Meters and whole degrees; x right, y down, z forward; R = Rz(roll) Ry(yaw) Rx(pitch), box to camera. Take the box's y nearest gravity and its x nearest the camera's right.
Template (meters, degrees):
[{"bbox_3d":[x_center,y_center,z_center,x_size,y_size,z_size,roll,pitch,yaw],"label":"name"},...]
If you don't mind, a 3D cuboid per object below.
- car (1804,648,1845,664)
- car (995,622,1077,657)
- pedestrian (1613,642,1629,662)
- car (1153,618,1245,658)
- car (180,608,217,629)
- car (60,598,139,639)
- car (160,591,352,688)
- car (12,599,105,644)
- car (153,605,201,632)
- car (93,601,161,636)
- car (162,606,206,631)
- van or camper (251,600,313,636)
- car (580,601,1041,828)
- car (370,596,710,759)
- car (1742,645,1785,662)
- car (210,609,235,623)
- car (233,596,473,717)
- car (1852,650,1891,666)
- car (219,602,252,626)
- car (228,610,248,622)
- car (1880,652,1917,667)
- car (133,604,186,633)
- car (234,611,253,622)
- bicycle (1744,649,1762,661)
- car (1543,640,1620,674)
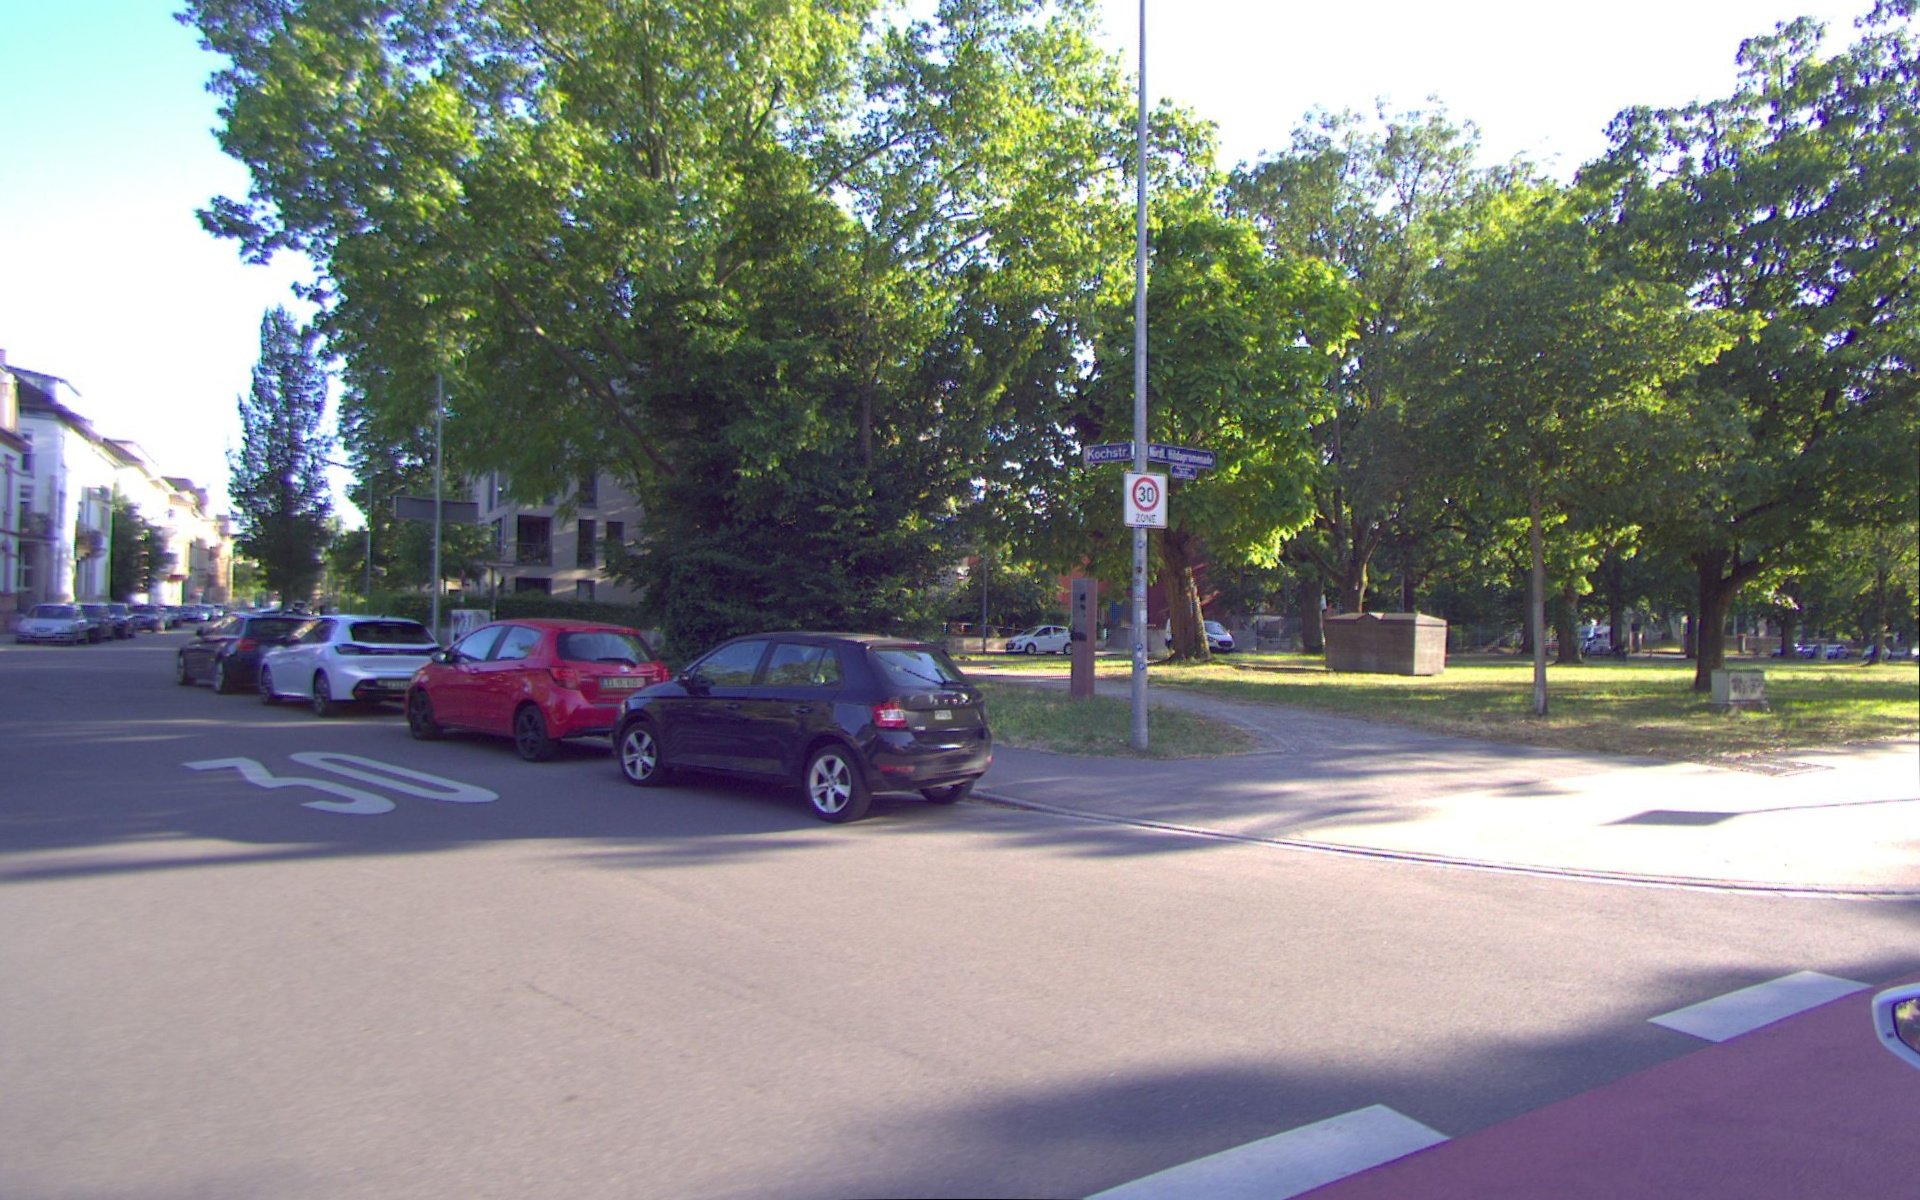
[{"bbox_3d":[88.362,5.745,102.697,4.067,1.528,1.984,3,-2,-30],"label":"car"},{"bbox_3d":[3.877,1.993,51.103,3.695,1.639,1.984,2,-1,-31],"label":"car"},{"bbox_3d":[35.323,2.779,53.695,0.604,1.000,0.545,3,-2,-34],"label":"pedestrian"},{"bbox_3d":[14.094,2.232,59.562,2.647,2.142,4.929,2,-1,-30],"label":"car"},{"bbox_3d":[-62.447,1.486,82.401,1.870,1.594,3.967,4,-3,-30],"label":"car"},{"bbox_3d":[-37.505,0.818,43.880,1.870,1.594,3.967,4,-3,-30],"label":"car"},{"bbox_3d":[-13.156,0.712,18.700,3.939,1.594,1.883,1,-3,40],"label":"car"},{"bbox_3d":[-35.515,0.853,39.677,1.869,1.594,3.968,4,-3,-30],"label":"car"},{"bbox_3d":[-51.465,1.204,66.080,1.870,1.594,3.967,4,-3,-30],"label":"car"},{"bbox_3d":[-41.104,0.923,49.633,1.870,1.594,3.967,4,-3,-30],"label":"car"},{"bbox_3d":[-54.433,1.277,70.546,1.870,1.594,3.967,4,-3,-30],"label":"car"},{"bbox_3d":[-54.066,1.403,80.059,5.977,2.583,2.073,1,-3,36],"label":"van or camper"},{"bbox_3d":[-1.454,0.895,9.248,3.934,1.594,1.885,1,-3,35],"label":"car"},{"bbox_3d":[-5.091,0.835,12.044,3.934,1.594,1.885,1,-3,35],"label":"car"},{"bbox_3d":[78.383,5.243,97.956,3.954,1.528,1.984,3,-2,-30],"label":"car"},{"bbox_3d":[-86.445,1.863,117.838,1.870,1.594,3.967,4,-3,-30],"label":"car"},{"bbox_3d":[-9.425,0.812,15.492,3.939,1.594,1.883,1,-3,39],"label":"car"},{"bbox_3d":[98.661,6.282,108.707,4.067,1.528,1.984,3,-2,-30],"label":"car"},{"bbox_3d":[-63.973,1.261,88.773,1.977,2.040,3.967,3,-2,-31],"label":"car"},{"bbox_3d":[-102.214,2.310,142.275,1.870,1.594,3.967,4,-3,-30],"label":"car"},{"bbox_3d":[105.738,6.723,113.139,4.067,1.528,1.984,3,-2,-30],"label":"car"},{"bbox_3d":[-48.354,1.098,60.733,1.870,1.594,3.967,4,-3,-30],"label":"car"},{"bbox_3d":[-108.053,2.482,151.543,1.870,1.594,3.967,4,-3,-30],"label":"car"},{"bbox_3d":[77.491,5.387,98.152,2.310,1.190,0.653,3,-2,-34],"label":"bicycle"},{"bbox_3d":[48.621,4.464,78.585,6.250,2.495,2.706,3,-2,-32],"label":"car"}]
